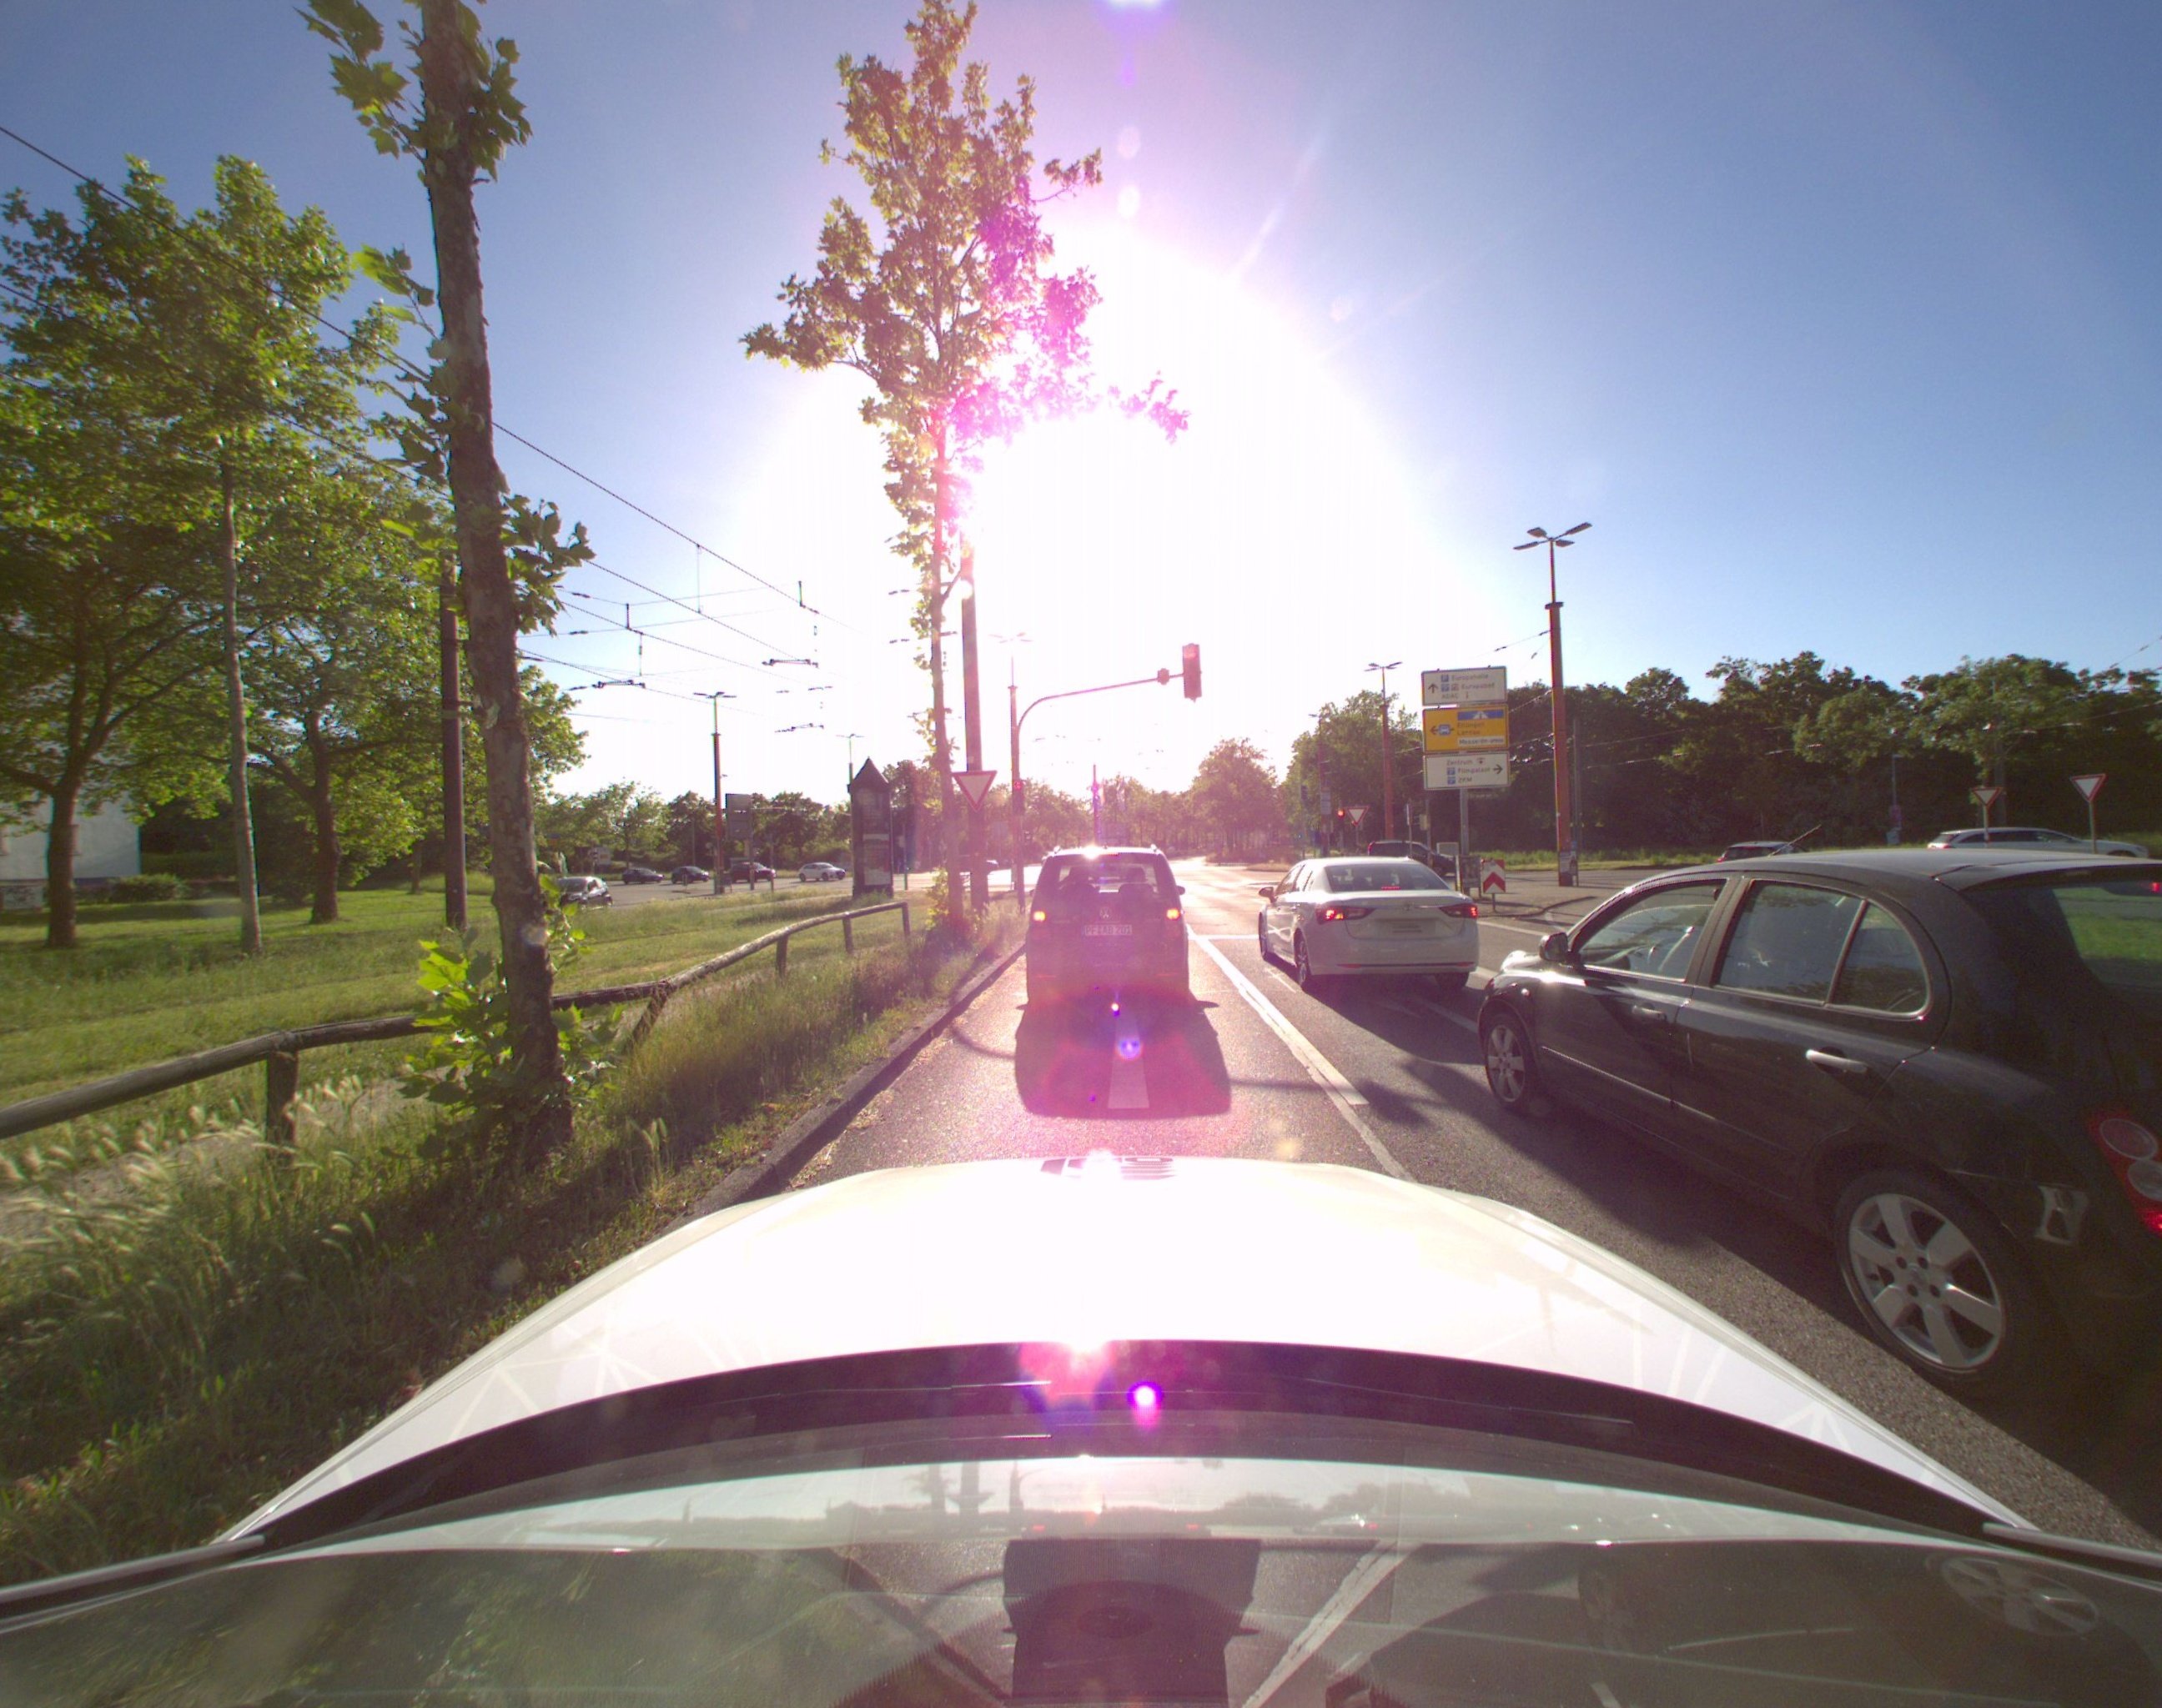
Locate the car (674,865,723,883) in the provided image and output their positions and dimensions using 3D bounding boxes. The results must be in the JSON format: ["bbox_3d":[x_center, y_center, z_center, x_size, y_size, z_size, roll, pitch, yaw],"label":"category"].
[{"bbox_3d":[-34.490,1.805,73.419,4.004,1.464,1.926,-2,0,28],"label":"car"}]

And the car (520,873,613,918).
[{"bbox_3d":[-18.814,1.463,29.958,1.824,1.420,3.738,-2,0,-15],"label":"car"}]

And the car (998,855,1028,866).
[{"bbox_3d":[-8.962,0.842,107.926,3.837,1.310,1.642,-1,0,-45],"label":"car"}]

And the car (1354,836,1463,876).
[{"bbox_3d":[16.248,0.122,40.453,4.735,1.836,1.926,-2,0,29],"label":"car"}]

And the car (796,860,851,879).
[{"bbox_3d":[-20.882,1.277,66.004,4.169,1.464,1.926,-2,0,29],"label":"car"}]

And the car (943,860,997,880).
[{"bbox_3d":[-9.109,1.280,66.975,4.201,1.464,1.911,-2,0,-4],"label":"car"}]

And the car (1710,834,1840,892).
[{"bbox_3d":[19.595,0.226,22.949,3.907,1.469,1.733,-2,0,-33],"label":"car"}]

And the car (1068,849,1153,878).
[{"bbox_3d":[1.767,0.595,49.031,4.735,1.598,1.926,-2,0,29],"label":"car"}]

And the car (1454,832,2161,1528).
[{"bbox_3d":[3.165,0.696,3.518,1.550,1.506,3.517,-2,0,2],"label":"car"}]

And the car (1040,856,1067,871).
[{"bbox_3d":[-3.338,1.099,99.617,1.980,1.684,4.846,-2,0,13],"label":"car"}]

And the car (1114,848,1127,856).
[{"bbox_3d":[8.428,-0.405,173.142,1.979,1.684,4.846,-2,0,14],"label":"car"}]

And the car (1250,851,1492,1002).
[{"bbox_3d":[3.295,0.721,10.122,1.708,1.454,4.147,-2,0,3],"label":"car"}]

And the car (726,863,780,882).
[{"bbox_3d":[-28.260,1.587,70.144,4.318,1.464,1.926,-2,0,29],"label":"car"}]

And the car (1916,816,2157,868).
[{"bbox_3d":[32.015,-0.363,27.544,4.867,1.575,2.013,-2,0,31],"label":"car"}]

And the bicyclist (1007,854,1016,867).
[{"bbox_3d":[-8.117,0.766,95.019,0.686,1.457,0.879,-2,-1,20],"label":"bicyclist"}]

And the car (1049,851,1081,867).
[{"bbox_3d":[-1.734,0.531,91.946,1.977,1.684,4.853,-2,0,20],"label":"car"}]

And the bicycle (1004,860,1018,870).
[{"bbox_3d":[-8.147,1.232,94.799,0.728,1.090,1.971,-2,0,21],"label":"bicycle"}]

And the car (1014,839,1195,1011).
[{"bbox_3d":[0.294,0.698,9.995,1.731,1.641,4.002,-2,0,2],"label":"car"}]

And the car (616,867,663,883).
[{"bbox_3d":[-42.190,1.989,77.842,4.187,1.464,1.926,-2,0,28],"label":"car"}]
